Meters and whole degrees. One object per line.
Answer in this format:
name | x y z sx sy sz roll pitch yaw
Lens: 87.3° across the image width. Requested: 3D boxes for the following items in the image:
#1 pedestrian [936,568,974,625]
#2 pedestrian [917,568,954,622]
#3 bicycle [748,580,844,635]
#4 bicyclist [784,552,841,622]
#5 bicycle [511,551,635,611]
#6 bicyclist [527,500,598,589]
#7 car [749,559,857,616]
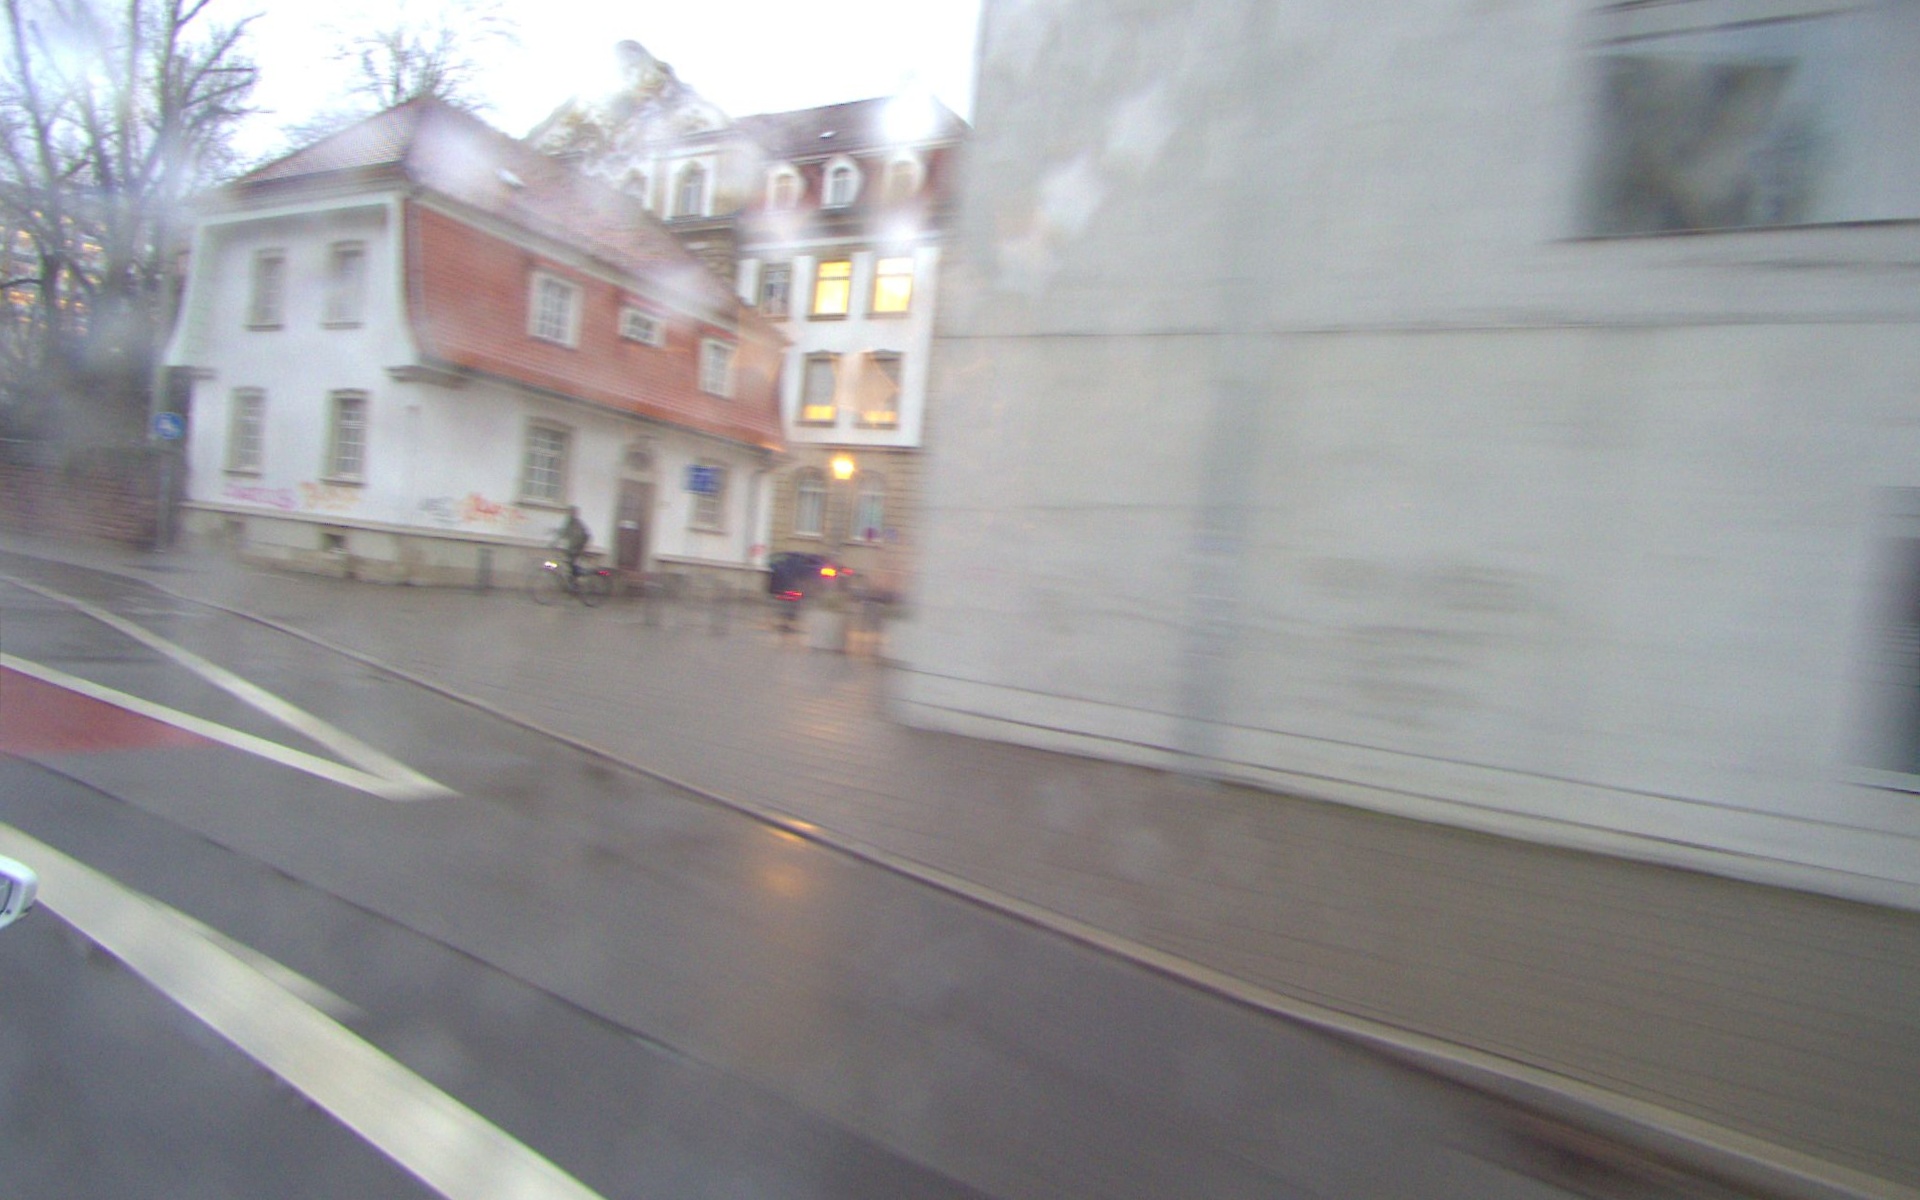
pedestrian | -0.154 -0.108 32.155 0.735 1.706 0.778 8 3 29
pedestrian | -0.798 -0.158 32.602 0.735 1.665 0.778 8 3 29
bicycle | -3.610 0.176 22.276 0.890 0.957 2.015 7 -2 33
bicyclist | -3.295 -0.293 22.531 0.725 1.426 0.860 7 -1 34
bicycle | -7.678 -0.360 20.048 0.929 0.956 2.118 7 0 31
bicyclist | -7.806 -1.085 19.781 0.768 1.615 0.855 7 0 32
car | -5.968 -0.491 38.230 3.614 1.681 1.755 7 -1 30
